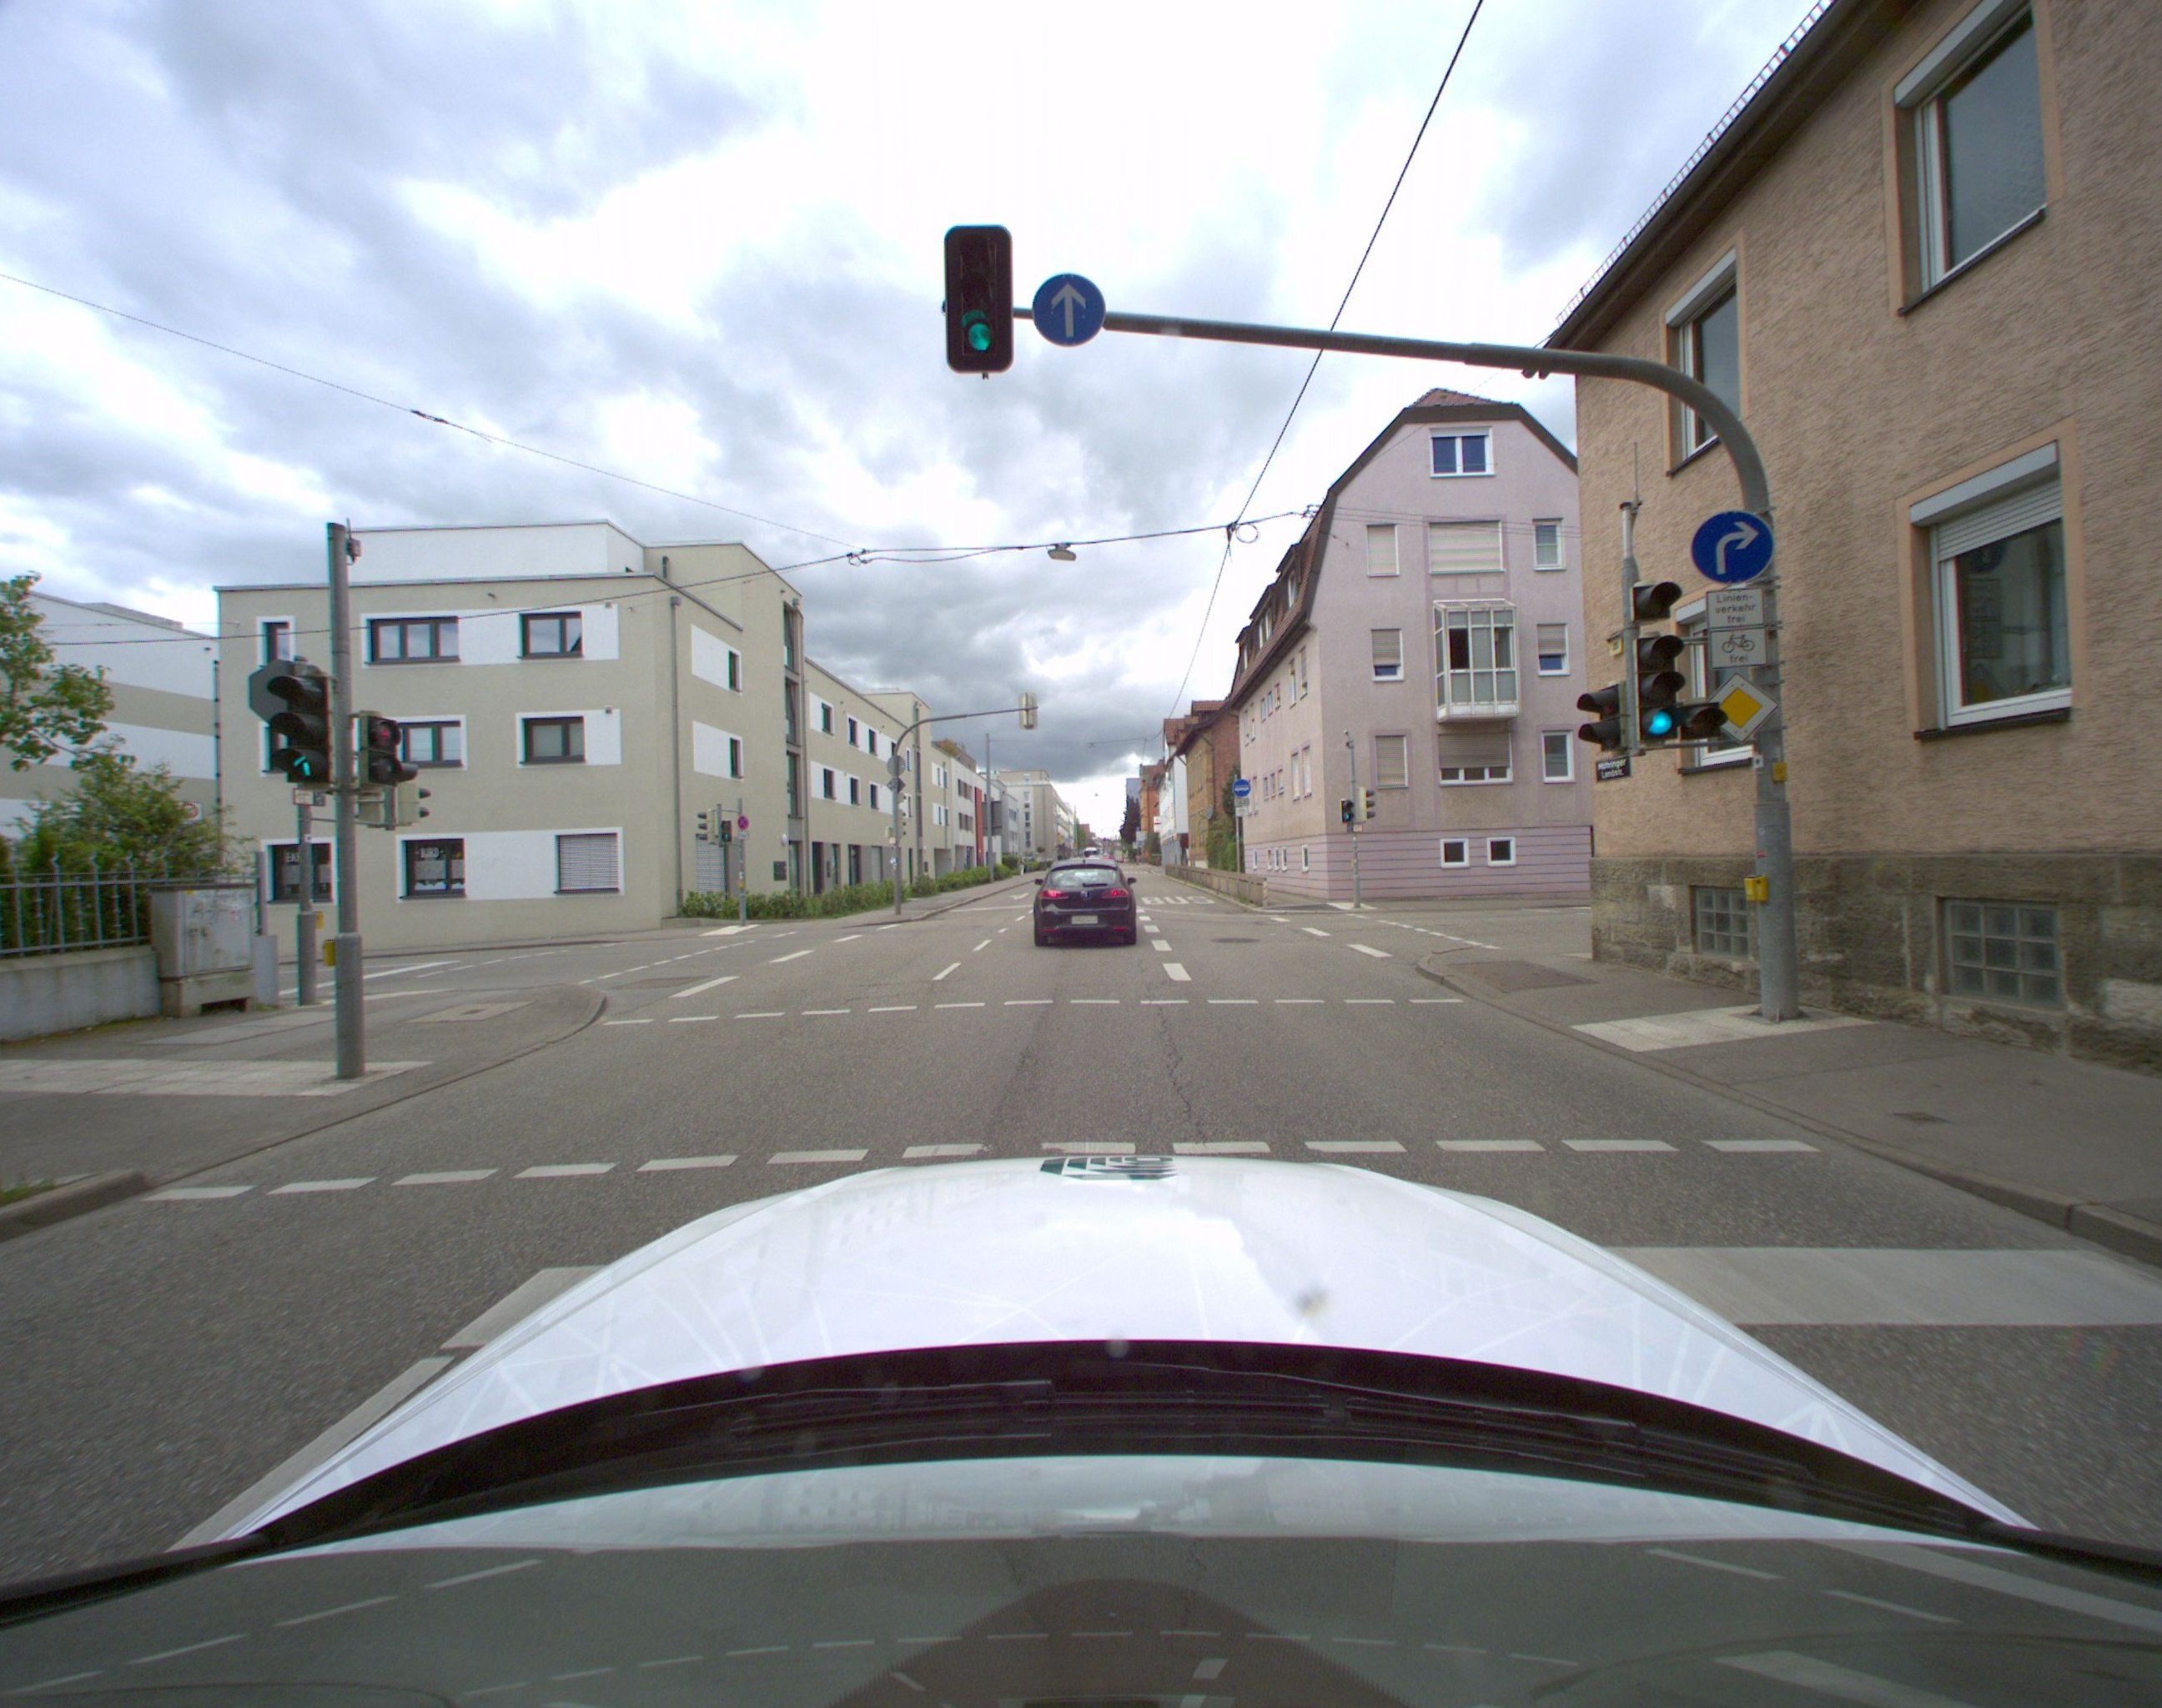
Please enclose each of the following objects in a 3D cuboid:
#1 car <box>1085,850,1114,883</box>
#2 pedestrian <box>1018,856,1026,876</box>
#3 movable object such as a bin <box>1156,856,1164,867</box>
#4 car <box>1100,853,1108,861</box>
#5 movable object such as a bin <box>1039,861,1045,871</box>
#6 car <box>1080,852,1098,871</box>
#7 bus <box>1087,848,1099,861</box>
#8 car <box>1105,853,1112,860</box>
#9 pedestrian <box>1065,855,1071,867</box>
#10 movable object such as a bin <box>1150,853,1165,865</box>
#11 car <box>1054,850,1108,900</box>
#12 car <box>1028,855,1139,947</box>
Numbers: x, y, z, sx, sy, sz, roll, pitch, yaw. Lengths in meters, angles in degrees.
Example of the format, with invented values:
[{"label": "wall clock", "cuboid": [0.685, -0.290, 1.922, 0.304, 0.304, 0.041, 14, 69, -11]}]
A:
[{"label": "car", "cuboid": [1.020, 0.663, 44.236, 1.526, 1.693, 3.694, -1, -1, 1]}, {"label": "pedestrian", "cuboid": [-4.757, 0.974, 65.838, 0.524, 1.548, 0.541, -1, -1, 1]}, {"label": "movable object such as a bin", "cuboid": [9.793, 0.897, 100.753, 0.925, 1.283, 0.883, -1, -1, 2]}, {"label": "car", "cuboid": [4.644, 0.632, 167.121, 1.526, 1.693, 3.694, -2, 0, 1]}, {"label": "movable object such as a bin", "cuboid": [-4.255, 1.262, 88.093, 0.547, 1.078, 0.612, -1, -1, 2]}, {"label": "car", "cuboid": [0.715, 0.698, 73.797, 1.526, 1.693, 3.694, -1, -1, 1]}, {"label": "bus", "cuboid": [2.670, 0.167, 179.027, 2.202, 2.886, 8.923, -1, -1, 2]}, {"label": "car", "cuboid": [6.601, 0.582, 194.114, 1.526, 1.693, 3.694, -2, 0, 1]}, {"label": "pedestrian", "cuboid": [-1.949, 1.024, 121.898, 0.728, 1.729, 0.860, -1, -1, 1]}, {"label": "movable object such as a bin", "cuboid": [9.921, 0.643, 105.140, 1.810, 1.437, 1.994, -1, -1, 2]}, {"label": "car", "cuboid": [0.051, 0.746, 29.807, 1.835, 1.693, 4.001, -1, -1, 1]}, {"label": "car", "cuboid": [0.109, 0.767, 14.950, 1.752, 1.442, 4.001, -1, -1, 2]}]
